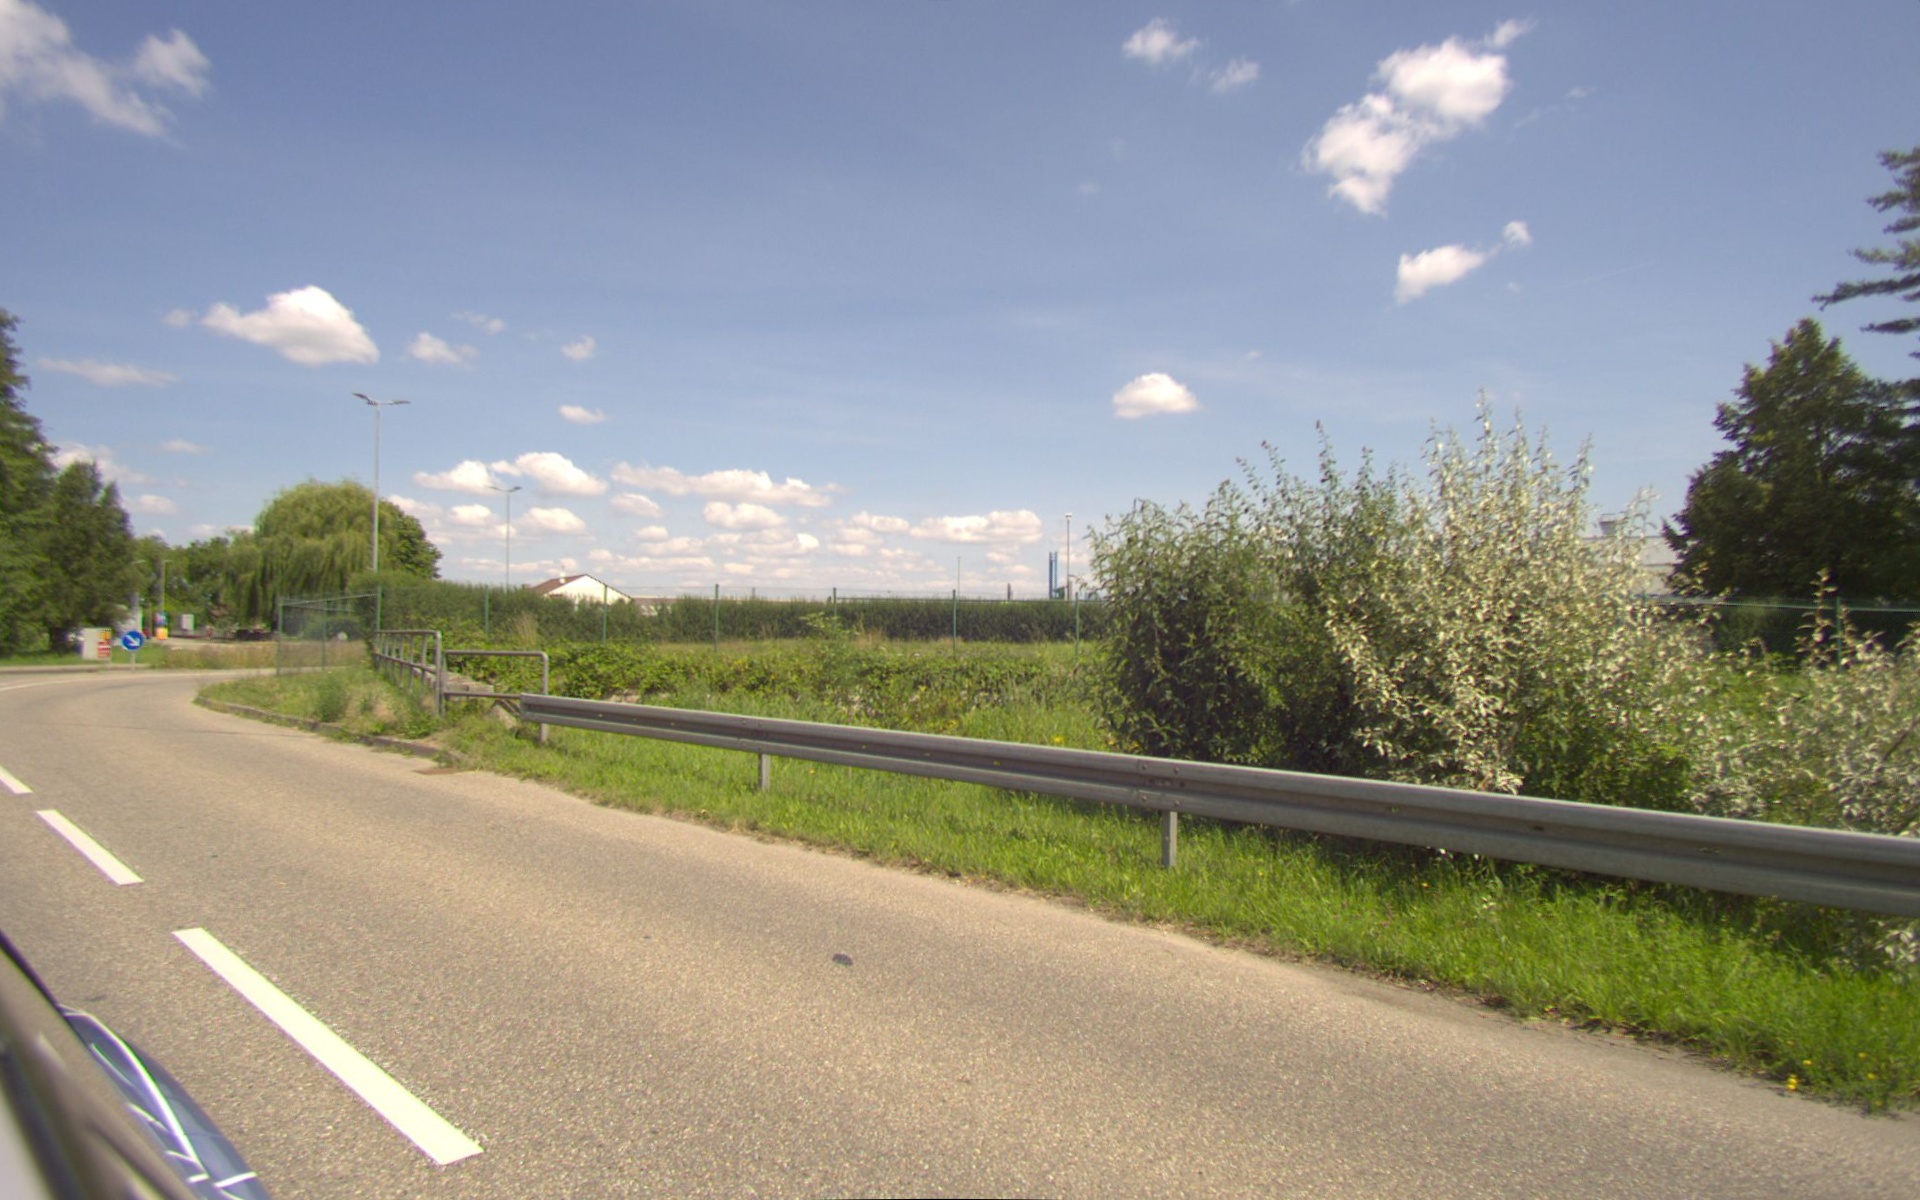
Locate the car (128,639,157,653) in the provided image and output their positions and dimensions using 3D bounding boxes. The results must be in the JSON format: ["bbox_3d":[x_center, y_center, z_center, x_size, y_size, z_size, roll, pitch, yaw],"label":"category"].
[{"bbox_3d":[-91.882,5.182,113.769,4.387,1.475,1.859,-2,-4,43],"label":"car"}]
